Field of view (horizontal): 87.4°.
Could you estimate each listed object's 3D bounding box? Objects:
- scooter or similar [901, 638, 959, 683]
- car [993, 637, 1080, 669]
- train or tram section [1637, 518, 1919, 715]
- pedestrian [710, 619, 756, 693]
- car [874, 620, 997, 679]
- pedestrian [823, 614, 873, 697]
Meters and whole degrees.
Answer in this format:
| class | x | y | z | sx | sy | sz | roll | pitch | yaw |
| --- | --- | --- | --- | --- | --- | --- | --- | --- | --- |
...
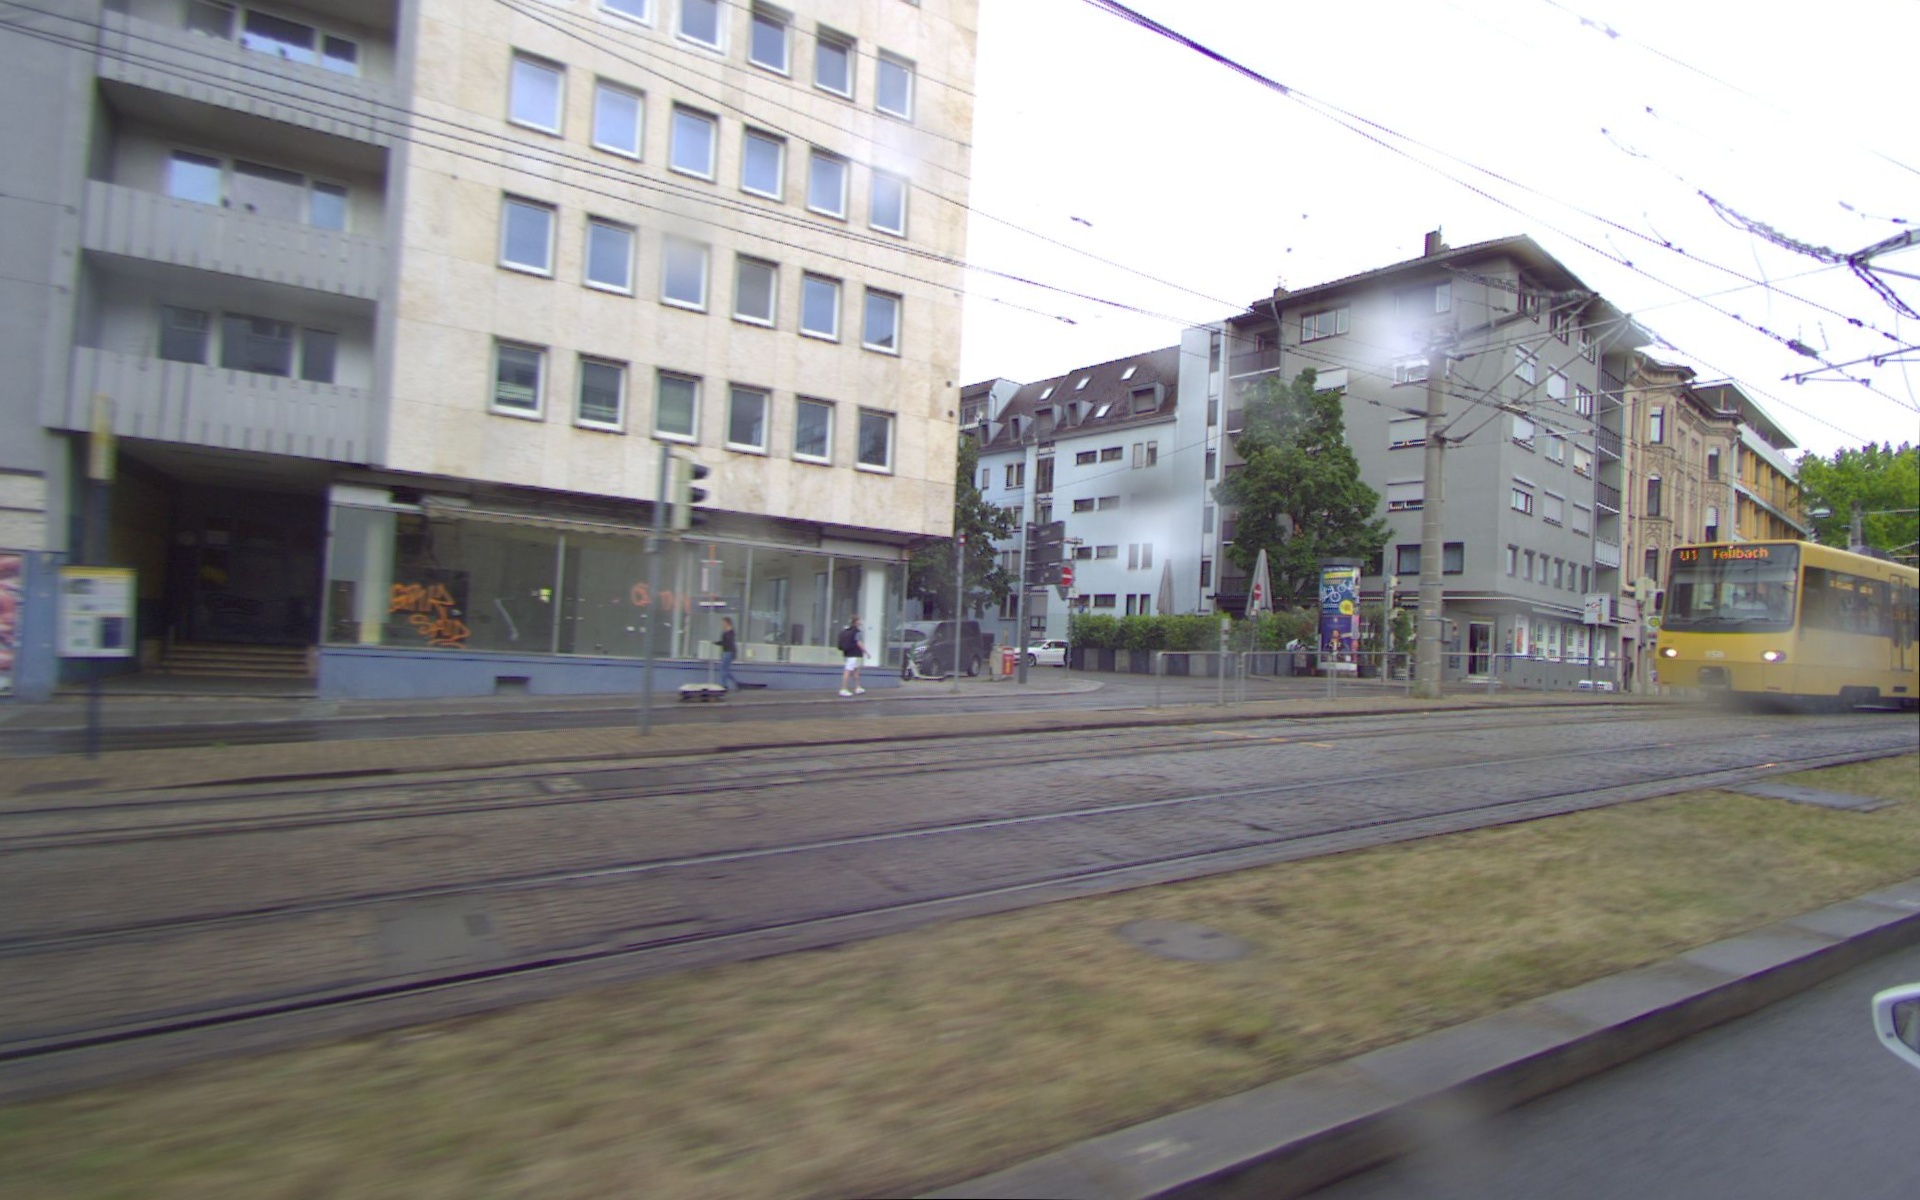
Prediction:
| class | x | y | z | sx | sy | sz | roll | pitch | yaw |
| --- | --- | --- | --- | --- | --- | --- | --- | --- | --- |
| scooter or similar | -0.825 | 1.651 | 27.560 | 1.459 | 1.161 | 0.566 | 1 | -1 | 19 |
| car | 3.835 | 2.647 | 50.510 | 3.946 | 1.528 | 1.981 | 1 | -2 | -25 |
| train or tram section | 23.046 | 0.817 | 25.343 | 18.768 | 3.745 | 2.730 | 4 | -2 | -33 |
| pedestrian | -4.876 | 1.190 | 21.555 | 0.768 | 1.569 | 0.674 | 1 | -2 | -32 |
| car | -0.730 | 1.673 | 34.795 | 1.963 | 1.853 | 5.228 | 1 | -1 | 27 |
| pedestrian | -2.418 | 1.186 | 21.657 | 0.900 | 1.761 | 0.593 | 1 | -2 | -32 |
